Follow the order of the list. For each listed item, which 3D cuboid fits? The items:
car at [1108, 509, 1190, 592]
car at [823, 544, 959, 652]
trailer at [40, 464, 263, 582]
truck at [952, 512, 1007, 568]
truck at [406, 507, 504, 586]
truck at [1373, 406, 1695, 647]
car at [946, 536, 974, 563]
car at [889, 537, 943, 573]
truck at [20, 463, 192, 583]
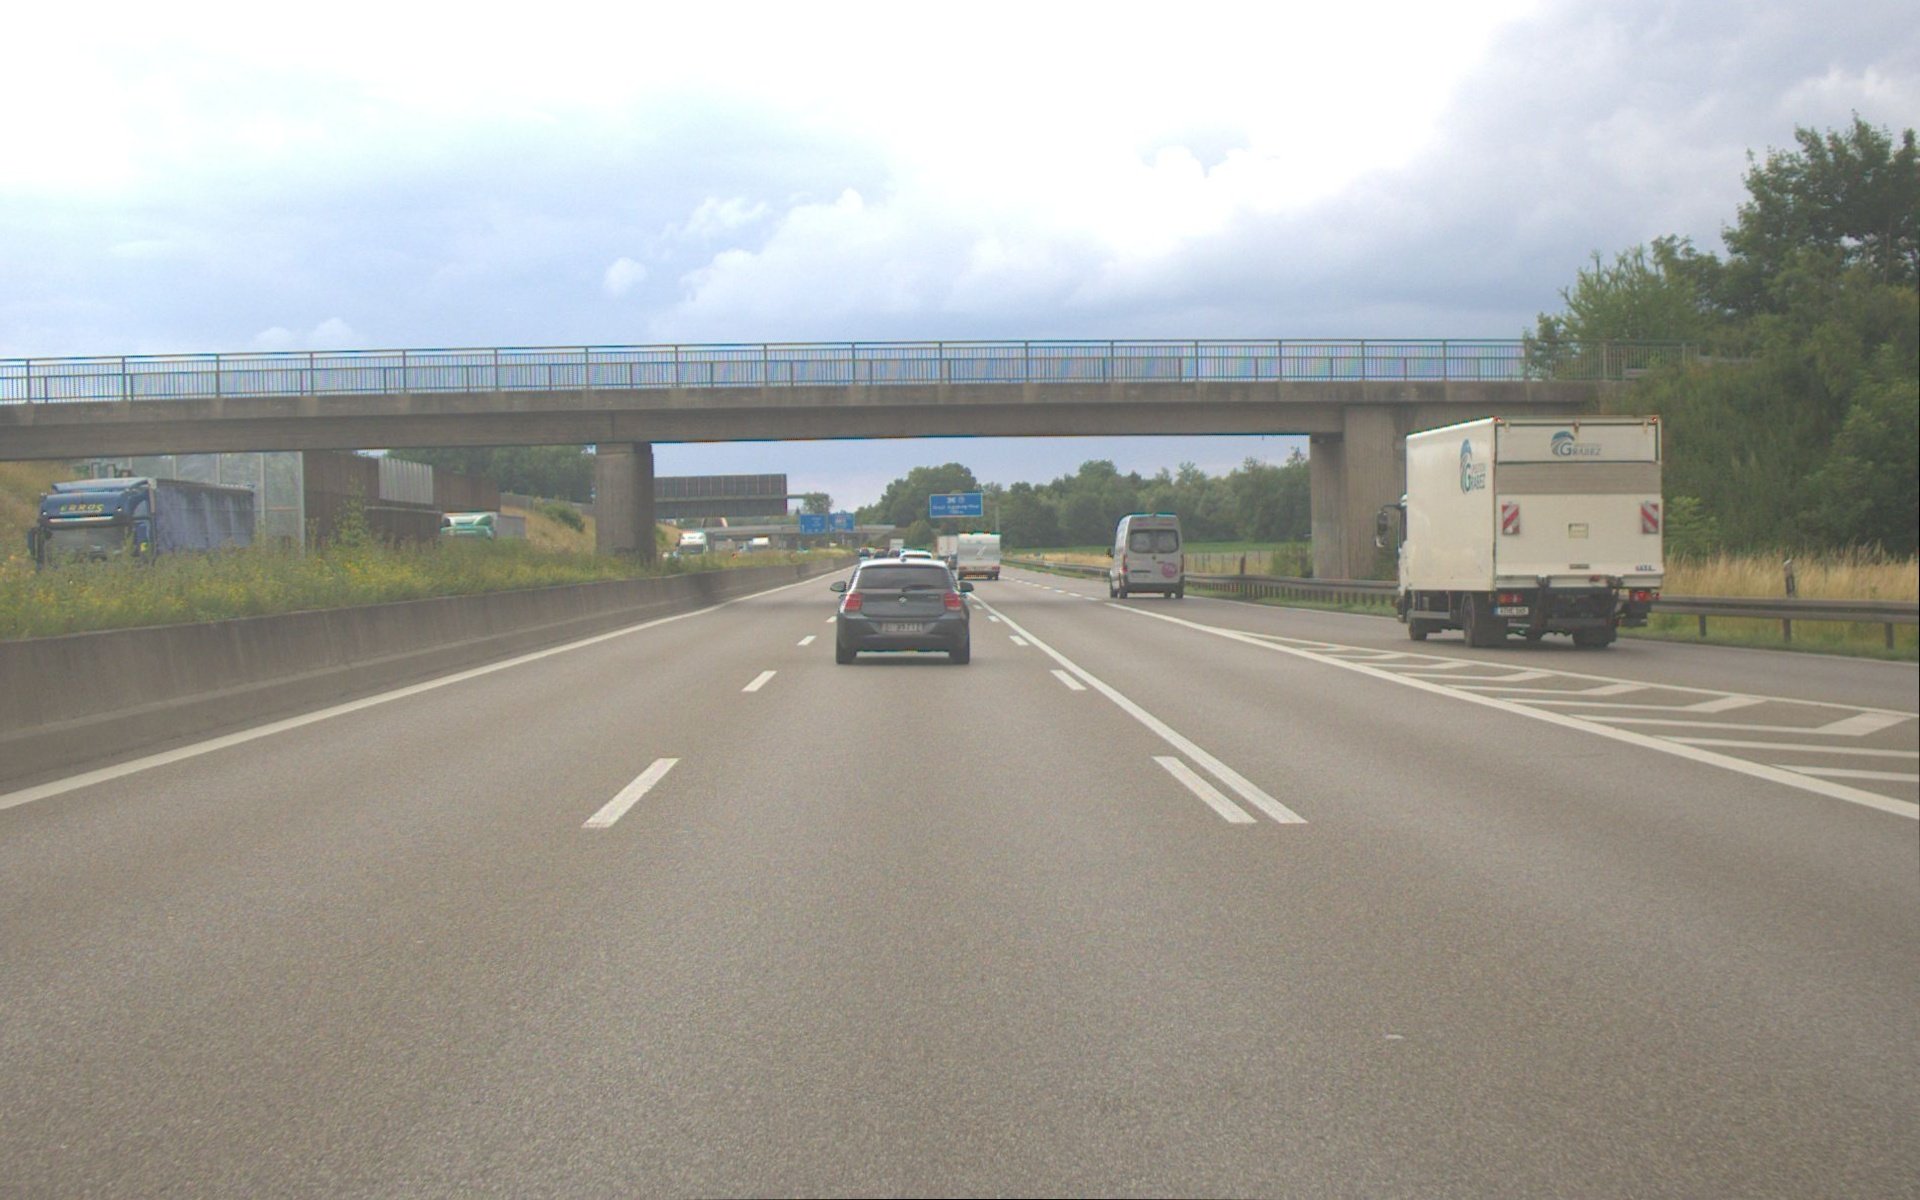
[{"bbox_3d":[6.012,-1.597,110.036,2.221,2.559,6.256,0,1,-1],"label":"car"},{"bbox_3d":[-0.922,-0.059,46.458,1.743,1.384,4.000,0,1,-1],"label":"car"},{"bbox_3d":[-22.013,-2.048,94.537,2.921,2.945,13.971,1,1,0],"label":"trailer"},{"bbox_3d":[1.024,-3.305,191.710,2.710,2.954,12.448,1,1,-1],"label":"truck"},{"bbox_3d":[-24.530,-2.565,167.620,2.997,3.671,13.009,0,1,-1],"label":"truck"},{"bbox_3d":[8.924,-1.130,54.691,3.104,3.459,8.892,1,1,-3],"label":"truck"},{"bbox_3d":[-0.005,-3.832,259.865,1.993,2.007,4.000,-1,1,-1],"label":"car"},{"bbox_3d":[-1.700,-1.715,131.325,1.993,1.294,4.000,-1,1,-1],"label":"car"},{"bbox_3d":[-21.938,-1.962,88.603,2.910,2.936,6.115,1,1,0],"label":"truck"}]
